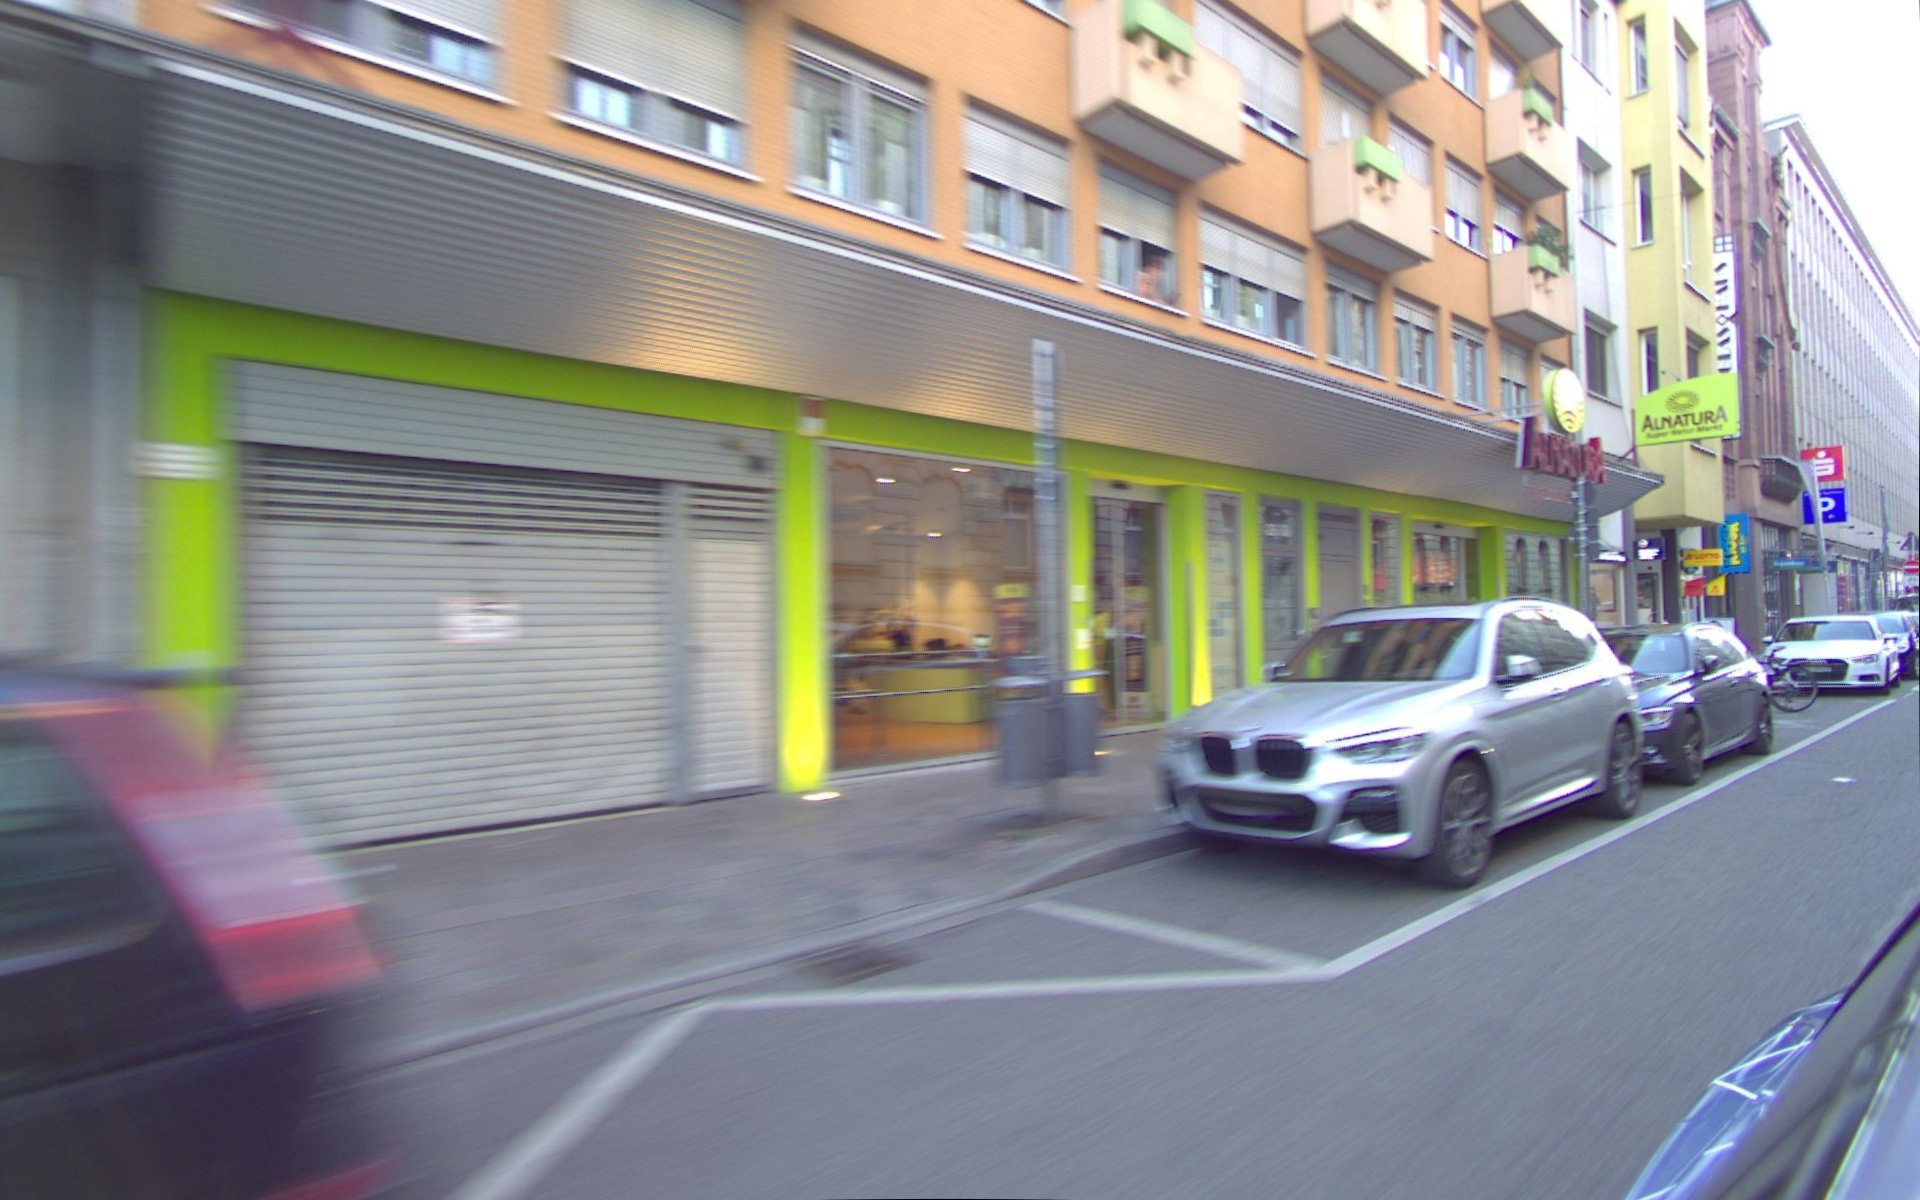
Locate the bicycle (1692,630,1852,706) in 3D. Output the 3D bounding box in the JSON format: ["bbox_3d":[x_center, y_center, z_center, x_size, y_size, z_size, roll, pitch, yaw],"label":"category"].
[{"bbox_3d":[12.124,1.015,15.153,1.708,1.069,0.658,-2,-2,9],"label":"bicycle"}]

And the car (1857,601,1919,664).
[{"bbox_3d":[24.276,0.789,25.567,4.417,1.472,1.689,0,-4,-40],"label":"car"}]

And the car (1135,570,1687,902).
[{"bbox_3d":[3.502,0.750,7.371,4.672,1.690,1.754,0,-4,-40],"label":"car"}]

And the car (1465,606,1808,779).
[{"bbox_3d":[7.198,0.822,10.559,4.672,1.433,1.694,0,-4,-40],"label":"car"}]

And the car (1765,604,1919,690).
[{"bbox_3d":[16.611,0.842,18.983,4.561,1.430,1.692,1,-4,-44],"label":"car"}]

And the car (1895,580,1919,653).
[{"bbox_3d":[29.513,0.437,30.164,4.967,2.085,1.849,-1,-2,-42],"label":"car"}]

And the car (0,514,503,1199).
[{"bbox_3d":[-3.009,0.760,0.997,4.402,1.631,1.798,0,-4,-36],"label":"car"}]

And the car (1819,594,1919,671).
[{"bbox_3d":[20.426,0.700,22.342,4.101,1.536,1.620,1,-4,-42],"label":"car"}]
